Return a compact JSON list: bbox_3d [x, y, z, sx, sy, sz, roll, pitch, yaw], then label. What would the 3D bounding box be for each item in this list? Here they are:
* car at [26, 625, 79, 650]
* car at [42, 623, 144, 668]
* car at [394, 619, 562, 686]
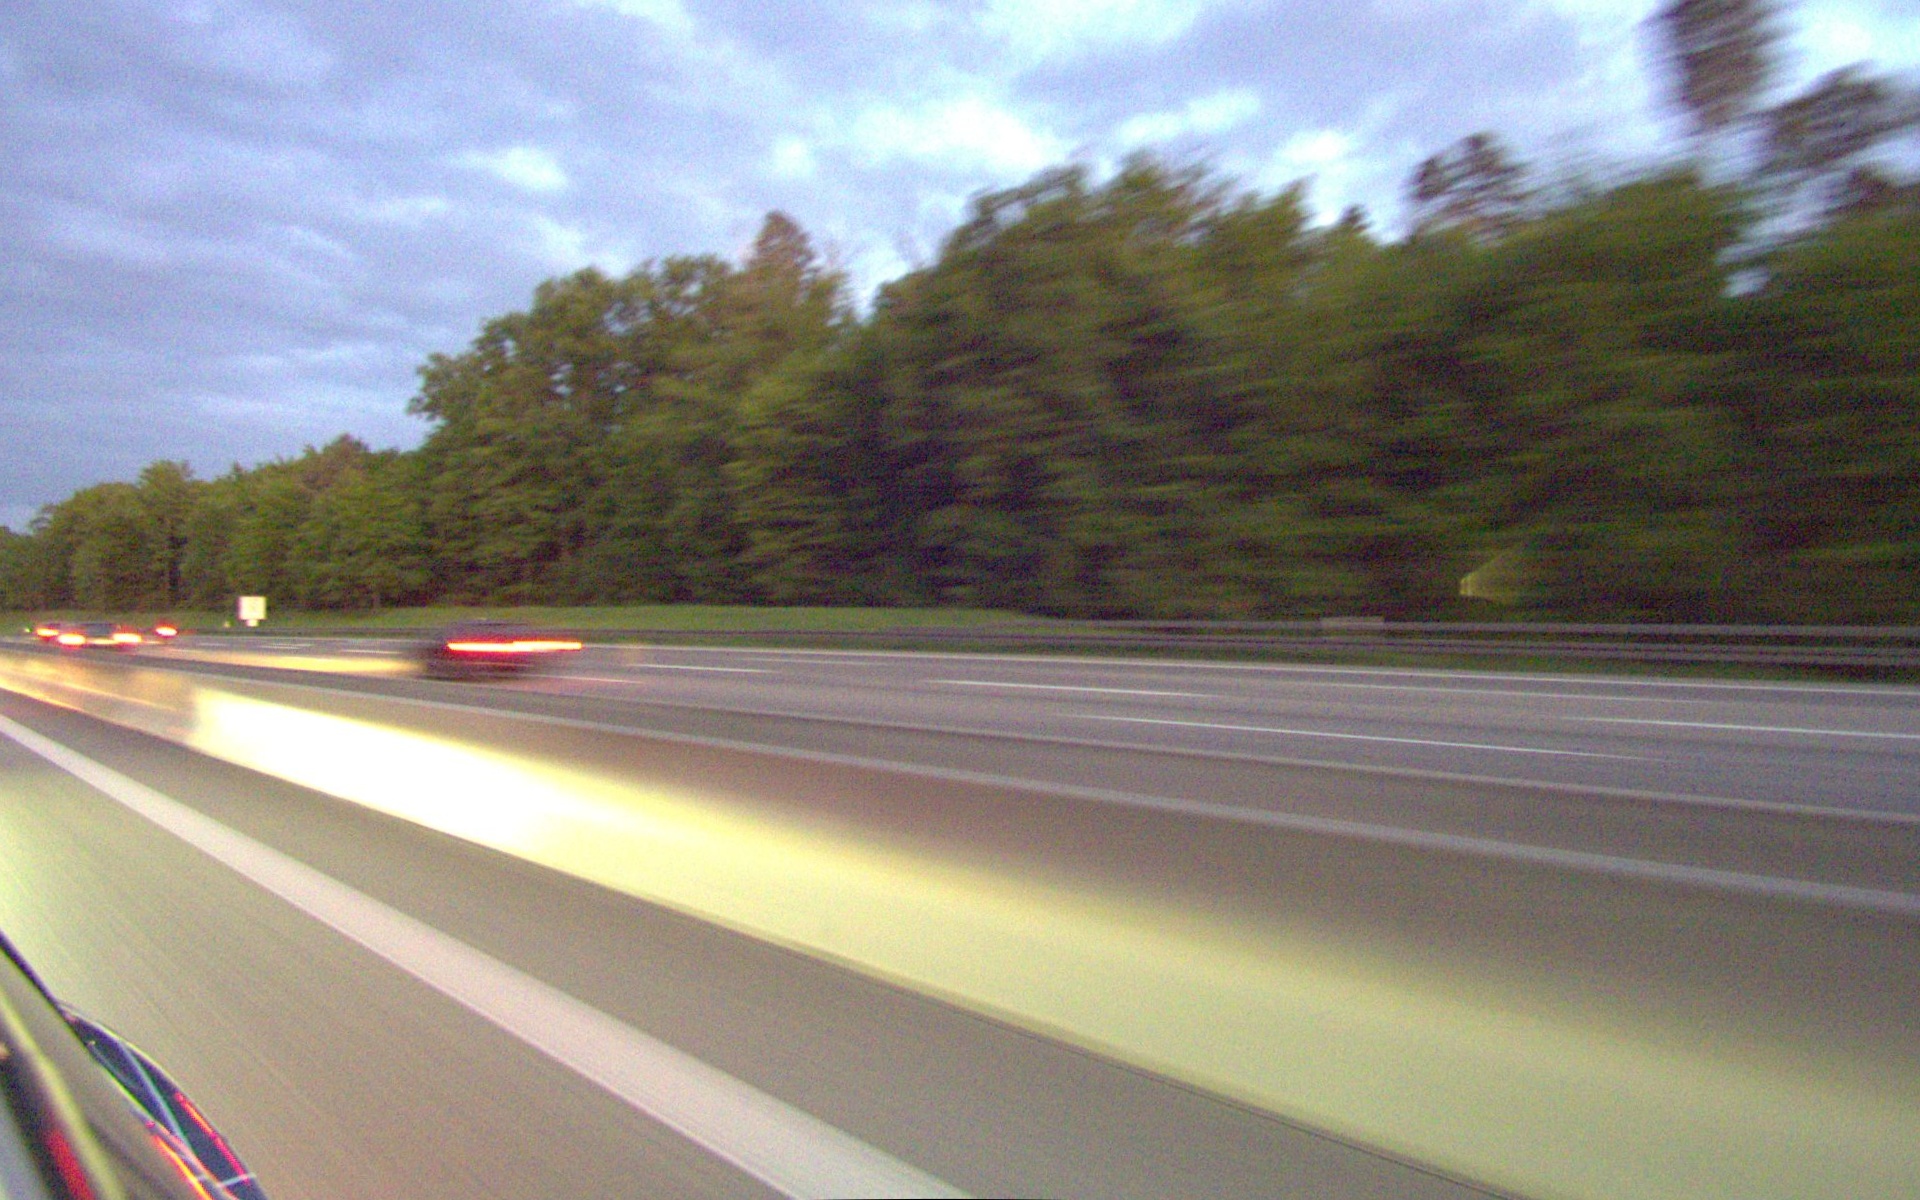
[{"bbox_3d":[-55.231,2.247,61.559,5.360,1.440,1.737,-1,-1,41],"label":"car"},{"bbox_3d":[-29.639,1.511,34.554,4.685,1.412,1.973,-1,-1,41],"label":"car"},{"bbox_3d":[-11.463,1.183,23.903,4.936,1.412,1.758,-1,-1,41],"label":"car"}]
